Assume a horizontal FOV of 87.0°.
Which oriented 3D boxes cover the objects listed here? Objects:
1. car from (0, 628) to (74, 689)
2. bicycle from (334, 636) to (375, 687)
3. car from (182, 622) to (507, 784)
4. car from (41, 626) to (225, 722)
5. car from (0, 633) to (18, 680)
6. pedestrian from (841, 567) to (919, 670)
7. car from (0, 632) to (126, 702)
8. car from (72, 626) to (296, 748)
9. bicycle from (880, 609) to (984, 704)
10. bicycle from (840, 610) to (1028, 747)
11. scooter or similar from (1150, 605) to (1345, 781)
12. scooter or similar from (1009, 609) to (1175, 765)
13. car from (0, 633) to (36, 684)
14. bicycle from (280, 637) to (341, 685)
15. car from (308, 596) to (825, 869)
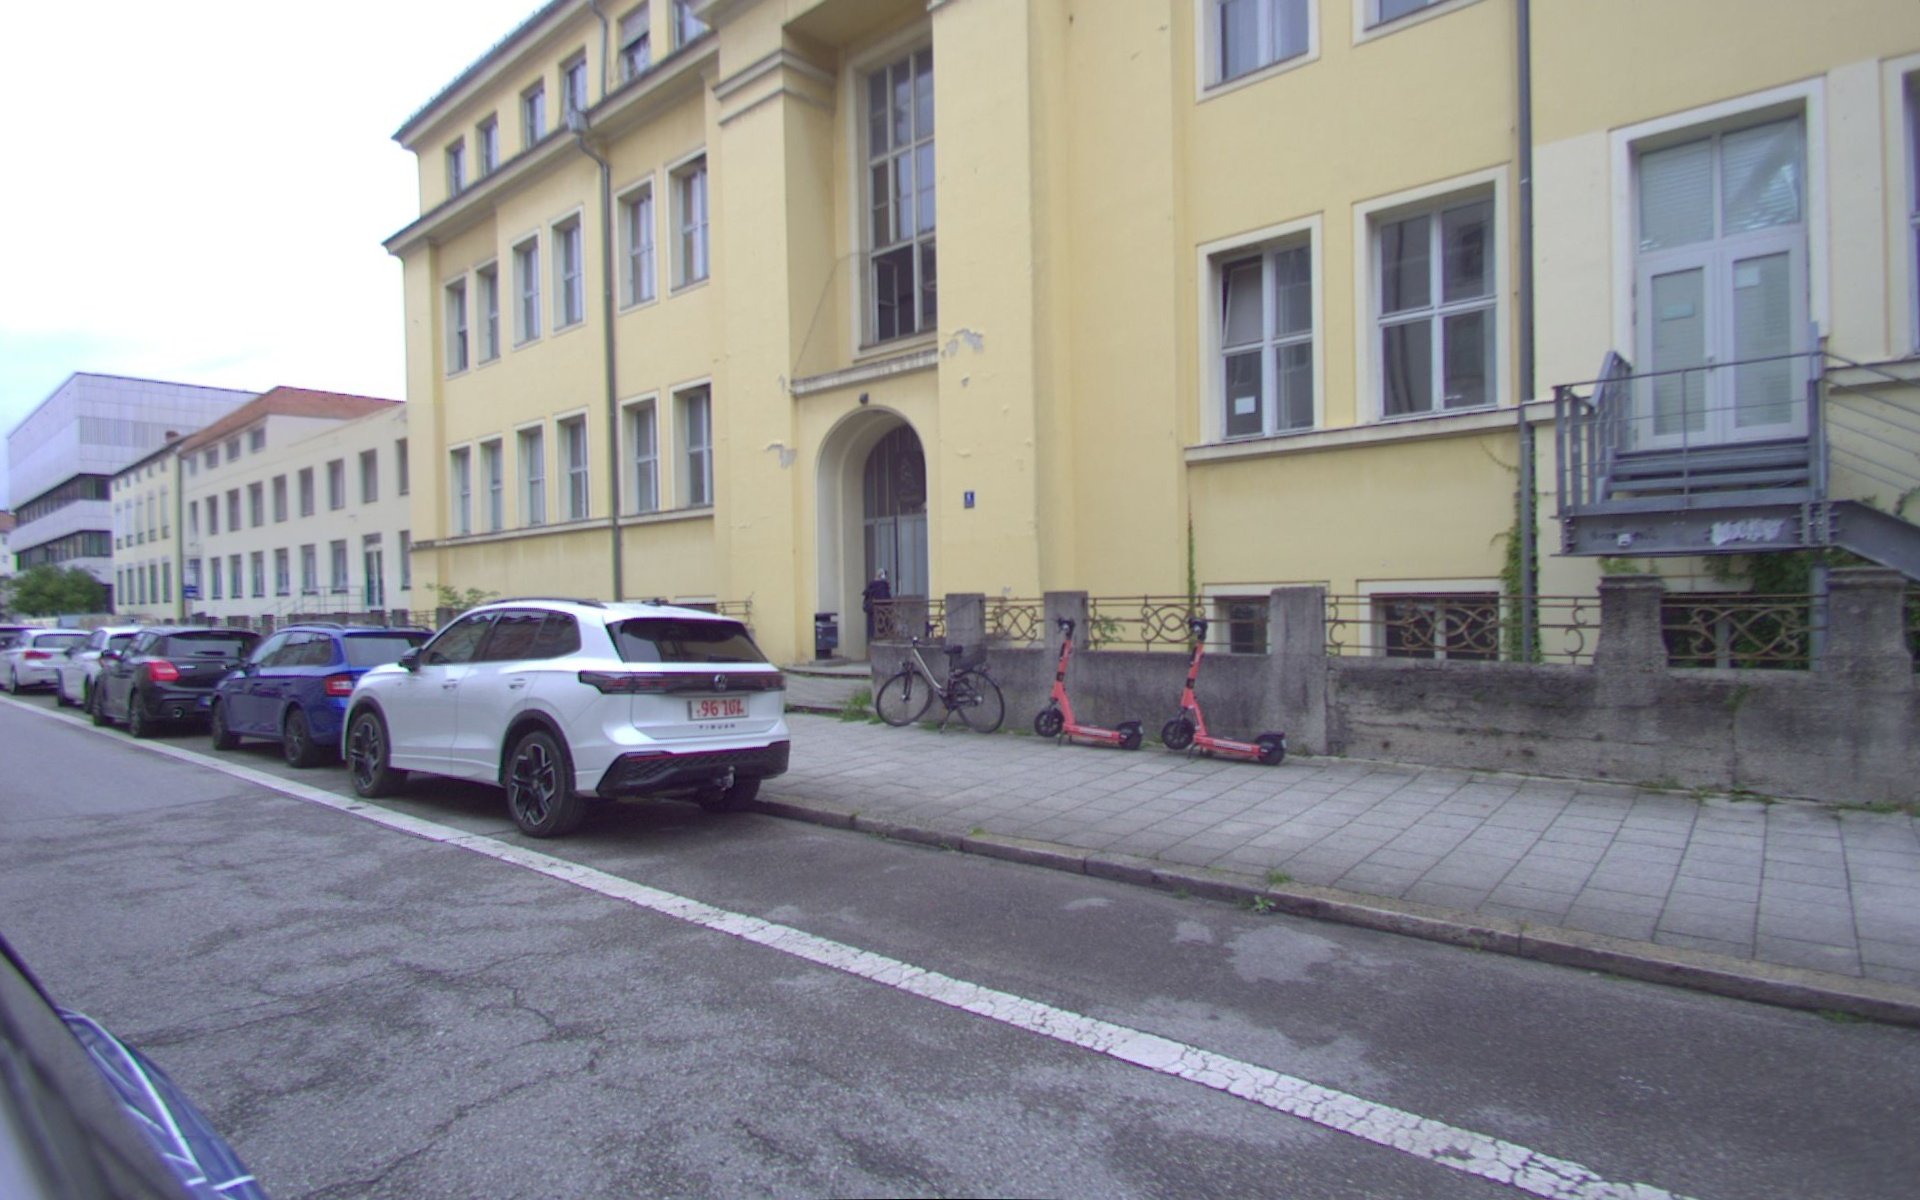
[{"bbox_3d":[-25.240,1.504,26.726,4.523,1.493,1.939,-1,-3,38],"label":"car"},{"bbox_3d":[-13.792,1.387,23.035,0.530,1.070,1.643,-1,0,-40],"label":"bicycle"},{"bbox_3d":[-7.155,1.058,11.580,4.490,1.514,1.686,-1,-5,39],"label":"car"},{"bbox_3d":[-15.015,1.229,18.288,4.649,1.442,1.766,-1,0,41],"label":"car"},{"bbox_3d":[-32.587,1.809,33.040,4.610,1.429,1.995,-1,-2,39],"label":"car"},{"bbox_3d":[-1.398,0.328,17.776,0.902,1.732,1.046,-2,-2,34],"label":"pedestrian"},{"bbox_3d":[-20.829,1.469,23.137,4.659,1.440,1.776,-1,-3,39],"label":"car"},{"bbox_3d":[-11.275,1.157,14.610,4.146,1.508,1.682,-1,-4,41],"label":"car"},{"bbox_3d":[-0.381,0.785,14.554,0.527,1.278,1.609,-2,-1,41],"label":"bicycle"},{"bbox_3d":[-0.322,0.791,10.935,2.112,1.338,0.674,-1,0,41],"label":"bicycle"},{"bbox_3d":[2.436,0.749,8.675,1.500,1.379,0.554,-2,-1,41],"label":"scooter or similar"},{"bbox_3d":[1.239,0.786,9.660,1.500,1.379,0.554,-2,-1,41],"label":"scooter or similar"},{"bbox_3d":[-28.822,1.687,29.695,4.347,1.416,1.733,-1,-3,37],"label":"car"},{"bbox_3d":[-15.392,1.420,23.968,1.634,1.070,0.570,-1,0,32],"label":"bicycle"},{"bbox_3d":[-3.430,0.851,8.303,4.849,1.646,1.729,-1,-2,38],"label":"car"}]
